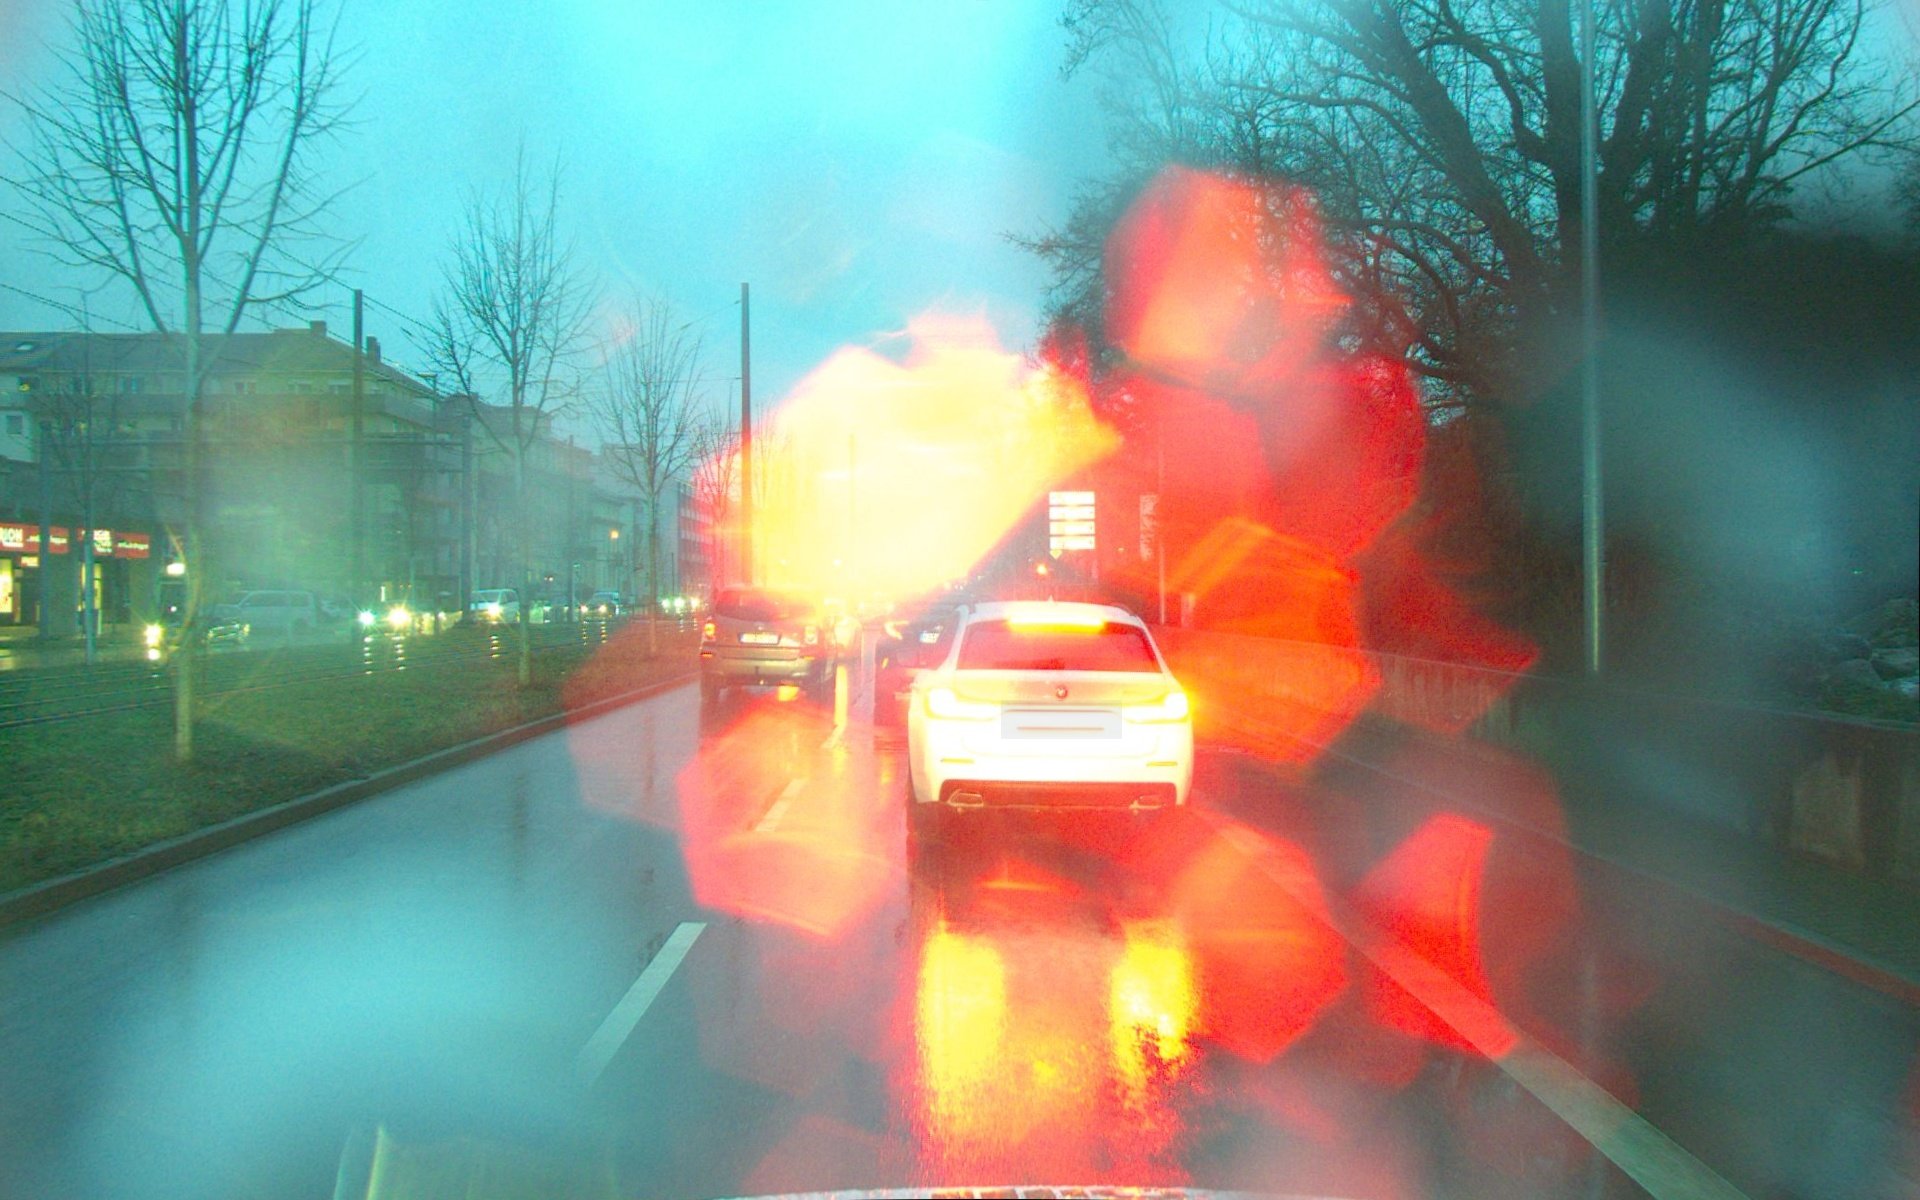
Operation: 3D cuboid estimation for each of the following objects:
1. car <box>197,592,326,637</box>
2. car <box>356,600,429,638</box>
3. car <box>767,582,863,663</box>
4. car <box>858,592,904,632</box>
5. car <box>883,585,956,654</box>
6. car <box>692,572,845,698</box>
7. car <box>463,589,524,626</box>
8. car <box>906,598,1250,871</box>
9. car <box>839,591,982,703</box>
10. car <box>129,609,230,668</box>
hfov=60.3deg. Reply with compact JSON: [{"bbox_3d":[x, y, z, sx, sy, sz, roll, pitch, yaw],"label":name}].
[{"bbox_3d":[-32.216,0.634,76.374,1.966,1.945,5.128,-1,0,44],"label":"car"},{"bbox_3d":[-22.627,0.732,66.052,1.858,1.456,3.703,0,0,-4],"label":"car"},{"bbox_3d":[-3.380,0.509,39.167,1.953,1.785,3.999,1,0,-1],"label":"car"},{"bbox_3d":[-3.416,0.504,72.101,1.770,1.674,4.000,1,0,0],"label":"car"},{"bbox_3d":[-1.008,0.466,42.596,1.770,1.674,4.000,1,0,0],"label":"car"},{"bbox_3d":[-2.721,0.457,24.288,1.770,1.674,4.000,1,0,0],"label":"car"},{"bbox_3d":[-23.033,0.363,81.830,1.858,1.749,5.114,0,0,-4],"label":"car"},{"bbox_3d":[0.662,0.766,11.541,1.958,1.534,4.163,1,0,-1],"label":"car"},{"bbox_3d":[-0.672,0.616,24.205,1.896,1.483,4.163,1,0,-1],"label":"car"},{"bbox_3d":[-26.595,1.285,56.509,1.688,1.918,3.924,0,0,-2],"label":"car"}]
